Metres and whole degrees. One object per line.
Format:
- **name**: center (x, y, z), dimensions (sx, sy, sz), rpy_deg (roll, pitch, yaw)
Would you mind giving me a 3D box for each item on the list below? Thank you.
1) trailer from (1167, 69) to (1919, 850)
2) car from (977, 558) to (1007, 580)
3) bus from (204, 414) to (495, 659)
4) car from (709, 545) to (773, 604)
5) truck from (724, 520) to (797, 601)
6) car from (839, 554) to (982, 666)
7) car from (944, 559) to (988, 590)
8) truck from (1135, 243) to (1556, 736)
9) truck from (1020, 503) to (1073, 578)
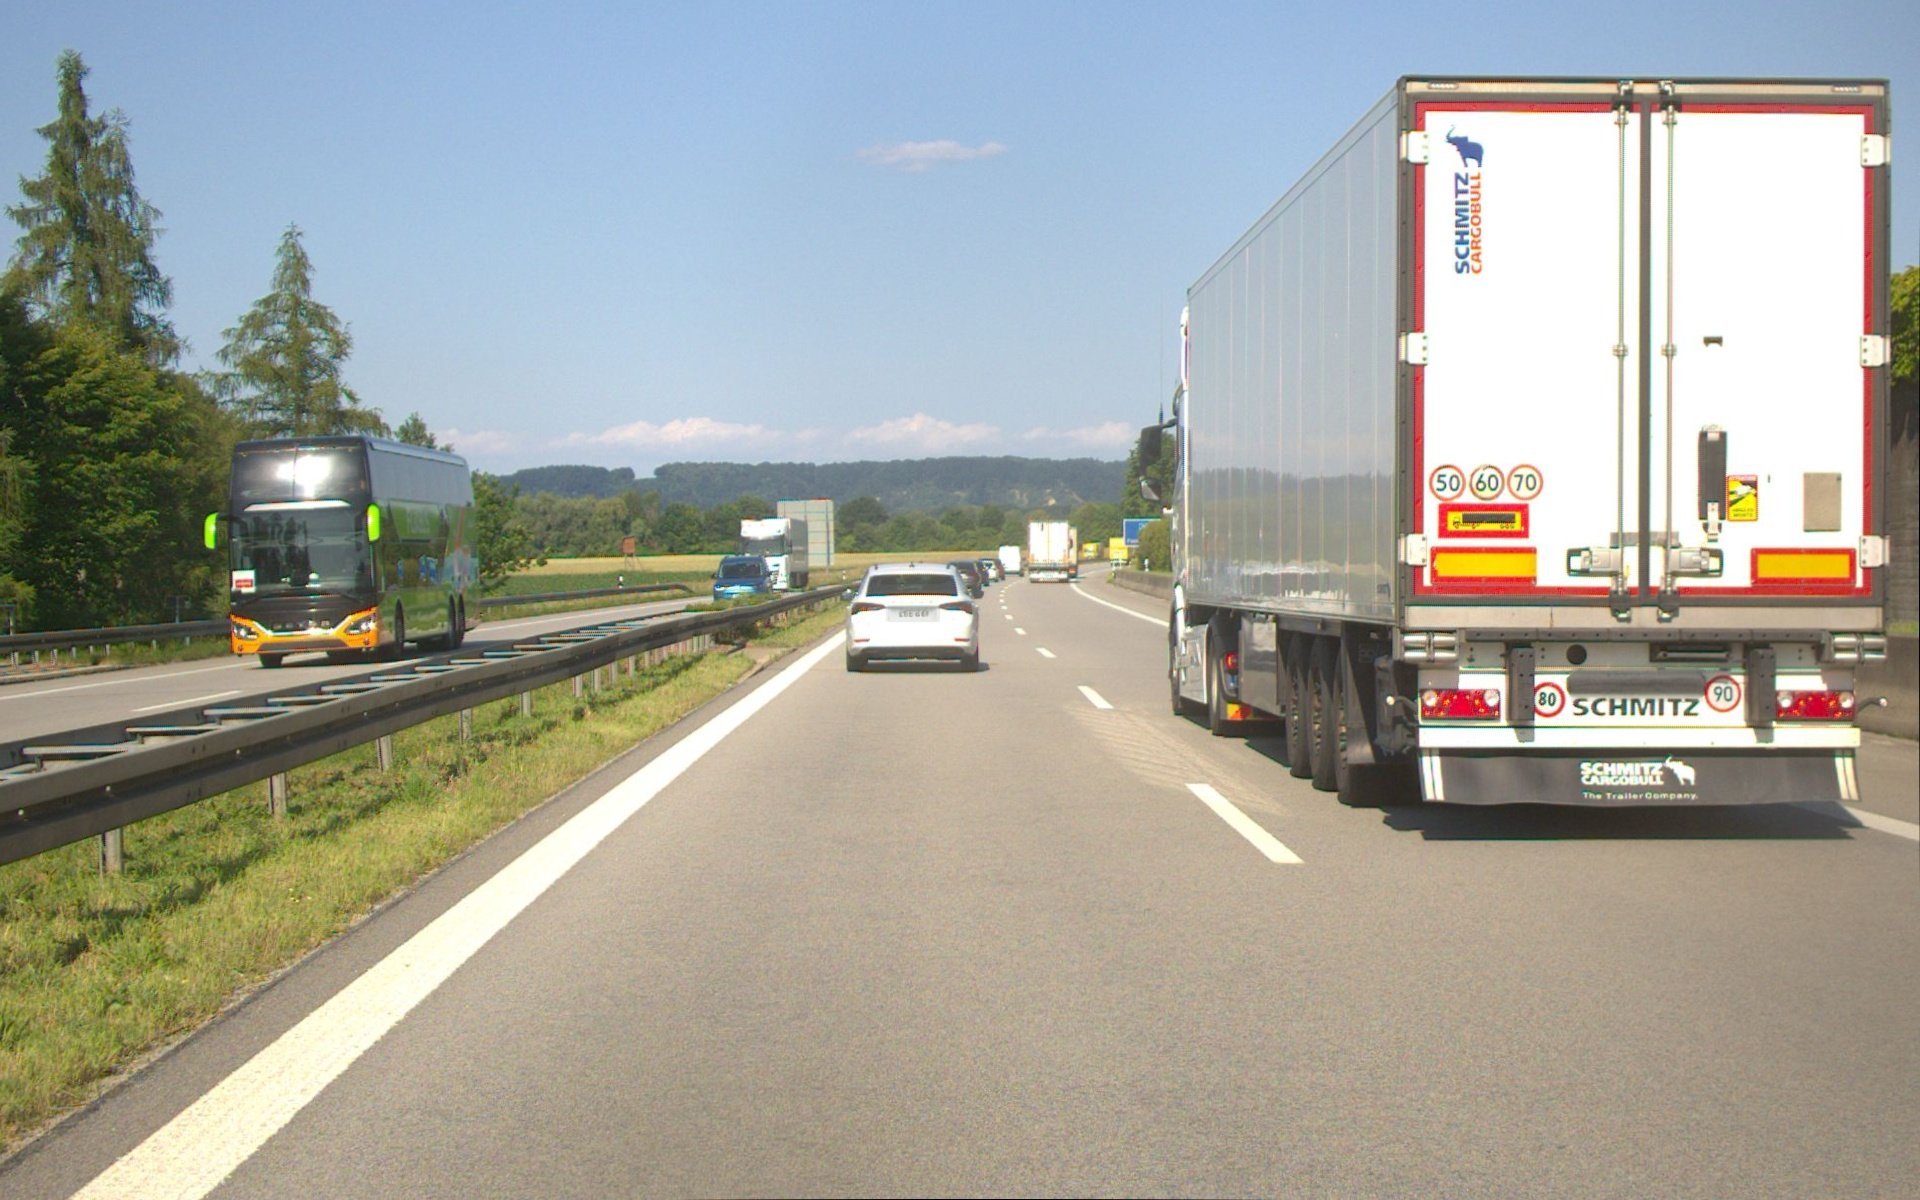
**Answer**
- **trailer**: center (3.473, -0.849, 24.902), dimensions (2.818, 3.953, 14.161), rpy_deg (-2, 1, -1)
- **car**: center (2.111, -2.076, 226.994), dimensions (1.771, 1.416, 4.364), rpy_deg (0, 1, 3)
- **bus**: center (-11.350, -1.200, 65.639), dimensions (2.936, 4.040, 14.669), rpy_deg (-2, 1, -1)
- **car**: center (-7.397, -0.894, 116.271), dimensions (1.754, 1.843, 5.011), rpy_deg (-3, 1, 0)
- **truck**: center (-10.547, -2.114, 182.553), dimensions (3.156, 4.087, 7.735), rpy_deg (-3, 1, 1)
- **car**: center (-0.694, 0.100, 47.143), dimensions (1.840, 1.416, 5.255), rpy_deg (0, 1, -1)
- **car**: center (0.293, -1.185, 158.864), dimensions (1.771, 1.416, 4.495), rpy_deg (0, 1, 4)
- **truck**: center (3.348, -0.967, 31.758), dimensions (2.840, 3.953, 7.044), rpy_deg (-2, 1, -1)
- **truck**: center (5.501, -3.807, 220.268), dimensions (3.152, 4.596, 8.905), rpy_deg (-1, 1, 1)
